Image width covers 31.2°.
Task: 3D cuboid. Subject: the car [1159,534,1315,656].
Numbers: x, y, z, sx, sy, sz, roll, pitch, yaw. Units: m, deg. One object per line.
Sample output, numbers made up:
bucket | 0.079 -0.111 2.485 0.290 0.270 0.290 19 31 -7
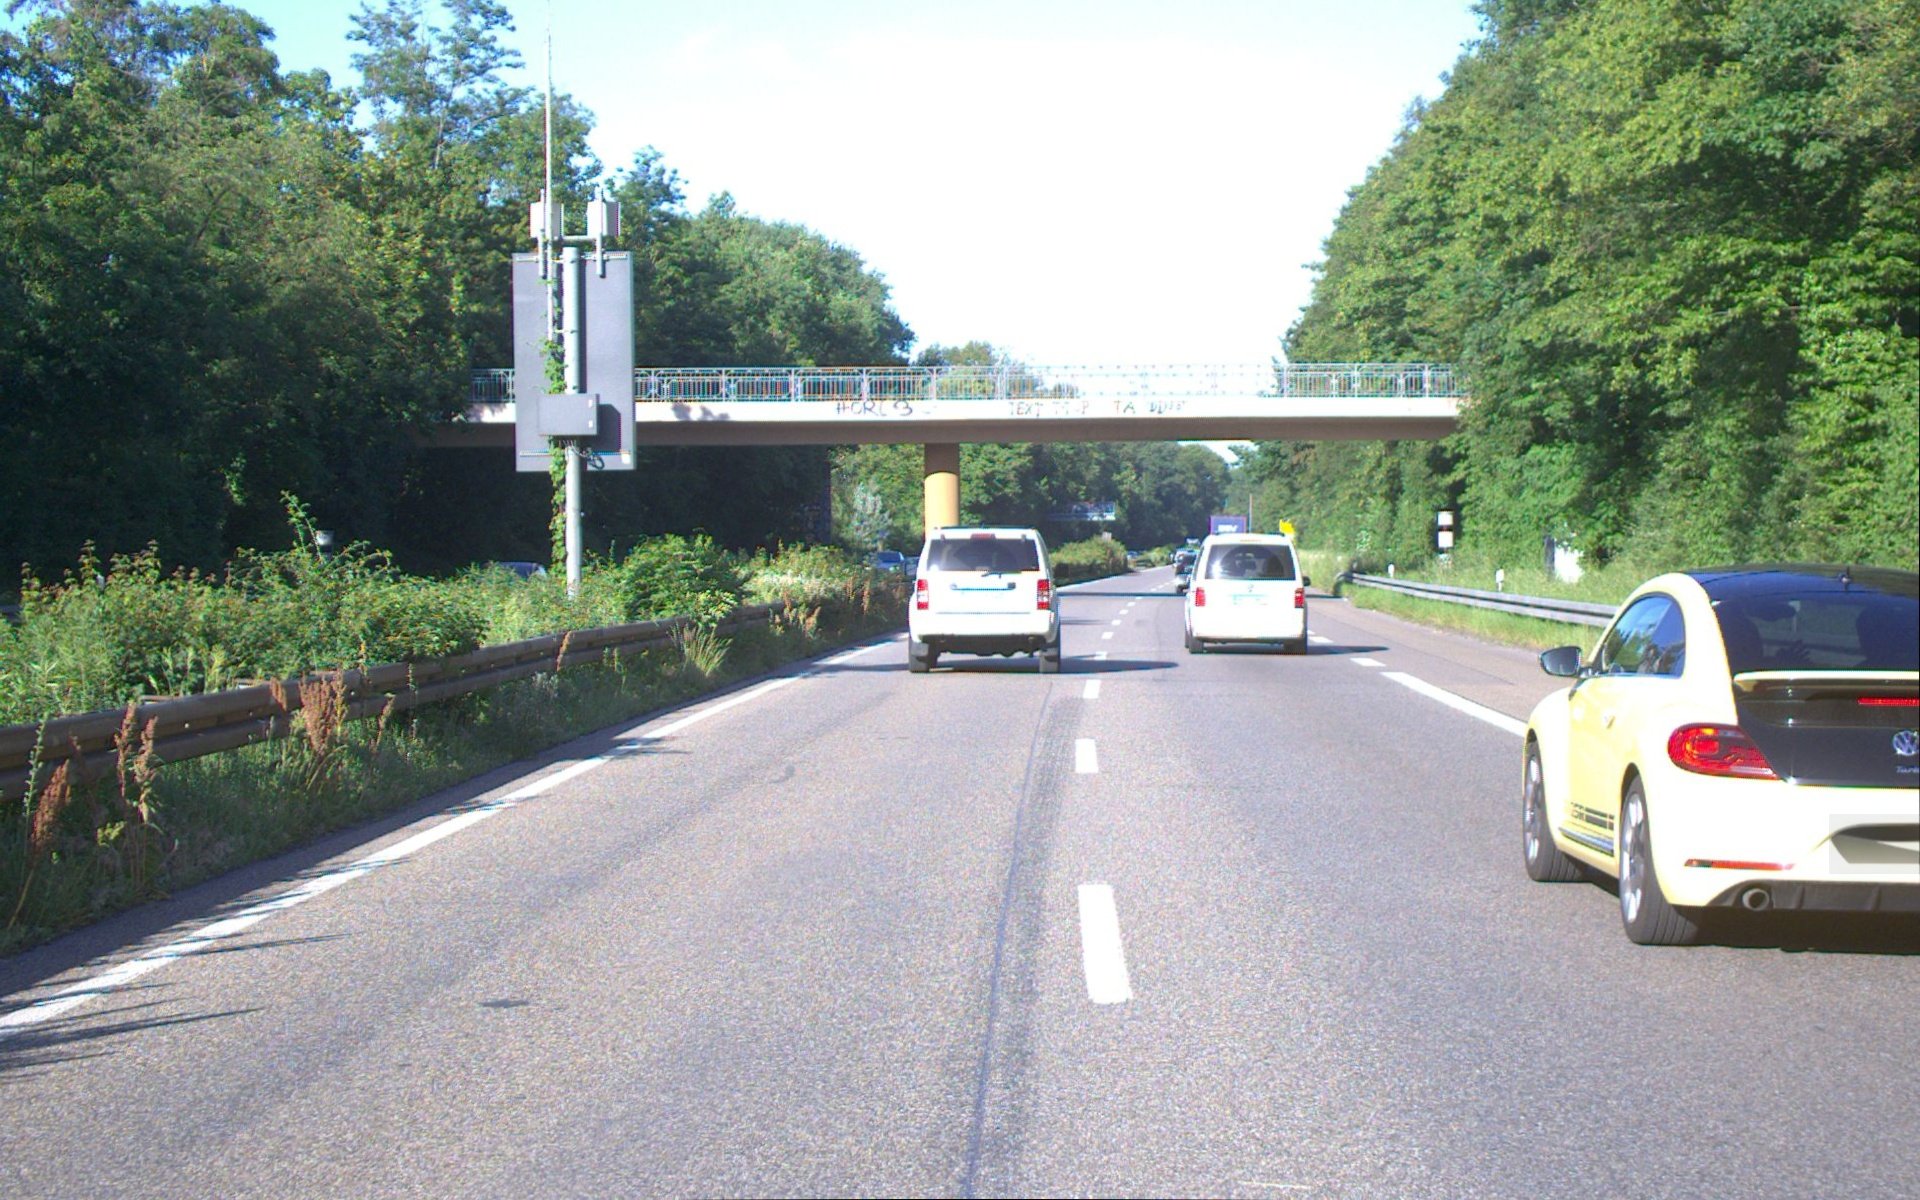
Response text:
car | 4.165 -0.100 52.257 1.863 1.764 4.470 0 1 -2

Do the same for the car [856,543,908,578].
car | -3.712 -1.901 164.861 1.961 1.653 5.040 0 1 5

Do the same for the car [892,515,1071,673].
car | 0.289 -0.102 42.767 2.085 1.822 4.000 1 1 1

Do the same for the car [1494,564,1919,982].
car | 3.480 0.598 14.411 1.879 1.456 4.356 1 1 1

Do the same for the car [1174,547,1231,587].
car | 8.785 -1.200 124.192 1.994 1.393 3.999 0 1 5

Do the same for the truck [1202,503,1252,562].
truck | 19.401 -4.850 249.412 3.496 4.158 8.860 0 1 5
